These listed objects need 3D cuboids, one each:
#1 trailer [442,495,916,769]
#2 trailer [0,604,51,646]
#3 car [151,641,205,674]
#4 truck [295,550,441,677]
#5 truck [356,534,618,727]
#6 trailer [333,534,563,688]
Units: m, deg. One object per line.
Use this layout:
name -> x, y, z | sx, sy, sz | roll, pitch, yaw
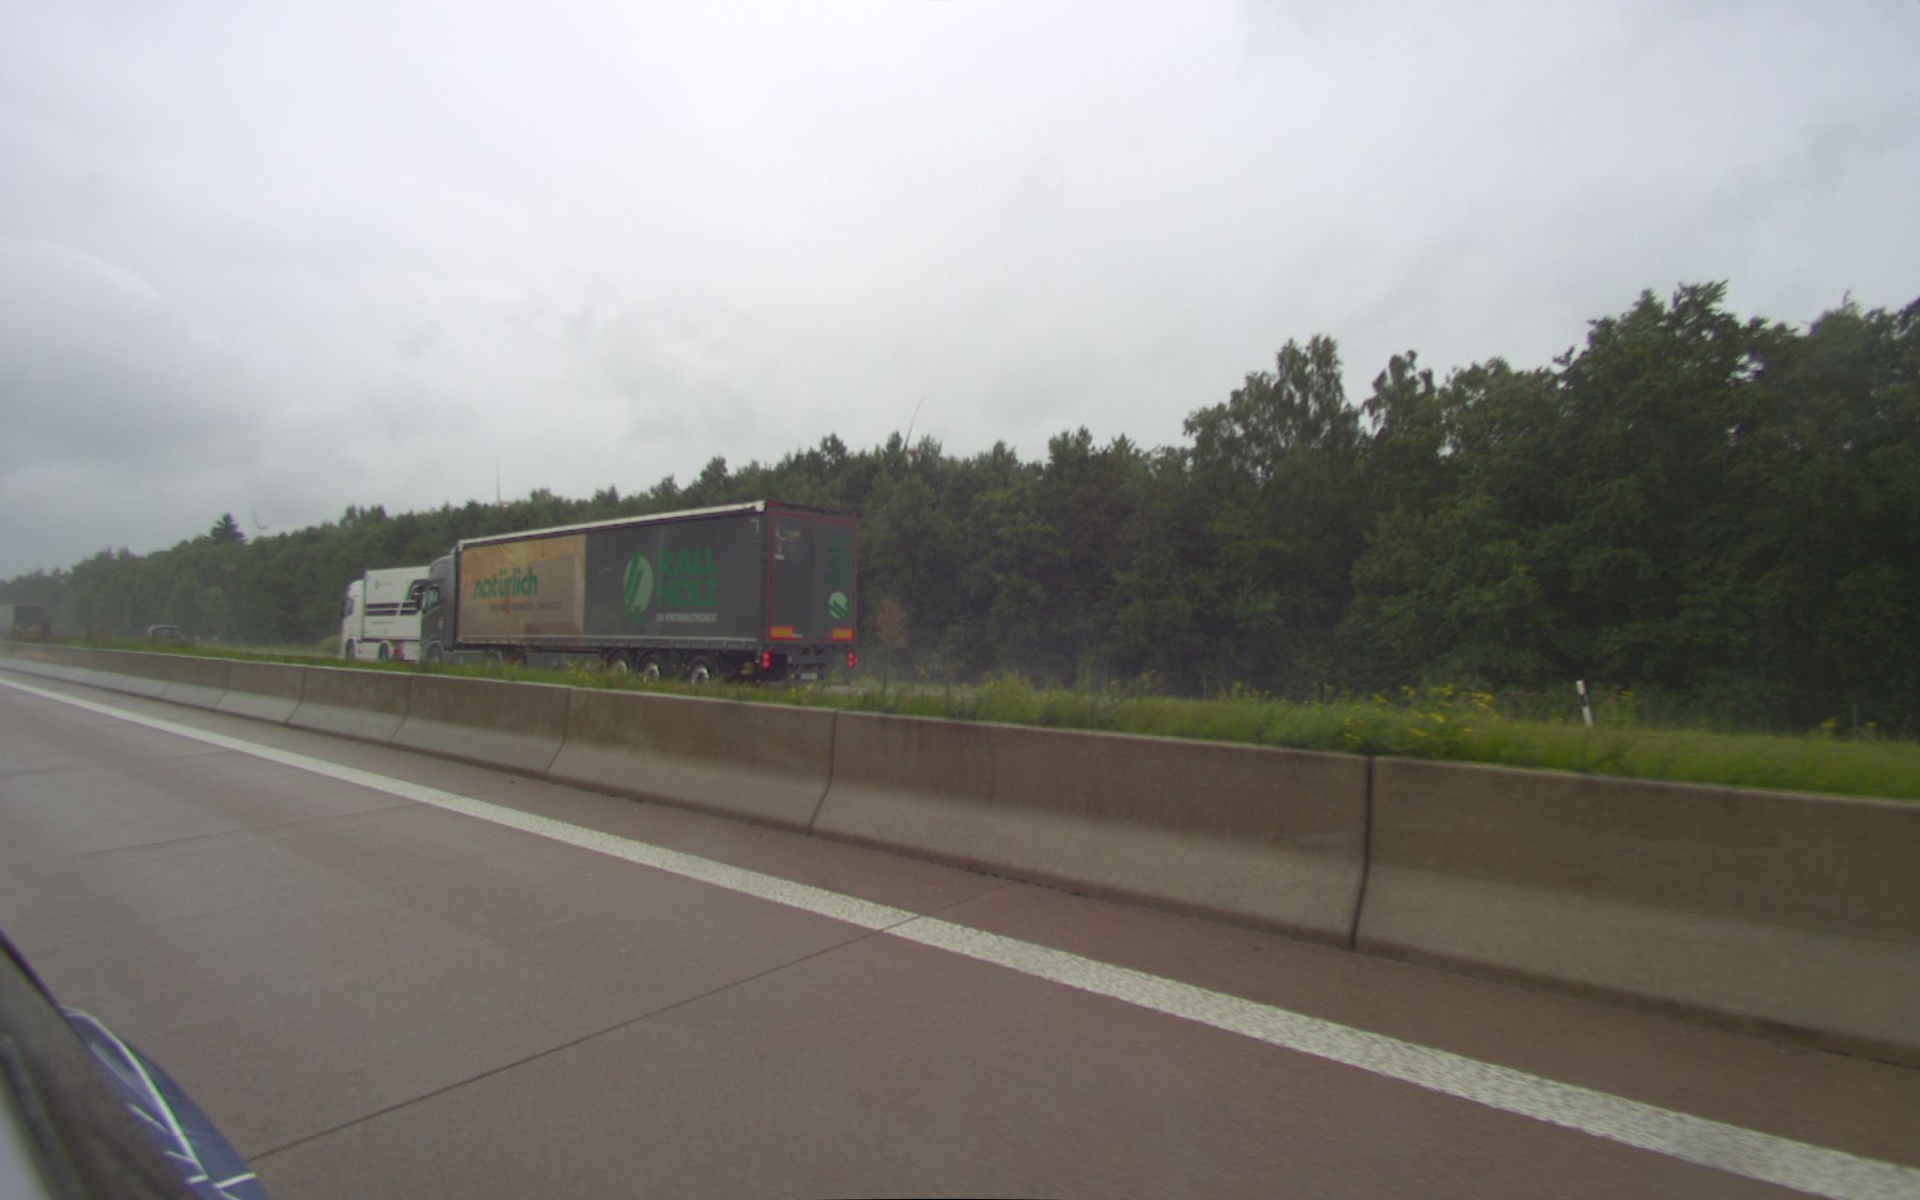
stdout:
trailer -> -7.669, 0.695, 25.001 | 14.226, 5.097, 3.950 | -1, -1, 40
trailer -> -106.953, 2.952, 115.377 | 12.438, 4.500, 3.394 | -3, -4, 41
car -> -36.460, 2.651, 47.181 | 3.082, 1.367, 1.401 | -2, 2, 41
truck -> -27.757, 0.637, 47.306 | 8.152, 5.419, 3.384 | -1, -1, 41
truck -> -14.624, 0.863, 30.898 | 8.946, 5.052, 3.885 | -1, -1, 40
trailer -> -21.641, 0.495, 42.024 | 14.228, 5.482, 3.395 | -1, -1, 41
